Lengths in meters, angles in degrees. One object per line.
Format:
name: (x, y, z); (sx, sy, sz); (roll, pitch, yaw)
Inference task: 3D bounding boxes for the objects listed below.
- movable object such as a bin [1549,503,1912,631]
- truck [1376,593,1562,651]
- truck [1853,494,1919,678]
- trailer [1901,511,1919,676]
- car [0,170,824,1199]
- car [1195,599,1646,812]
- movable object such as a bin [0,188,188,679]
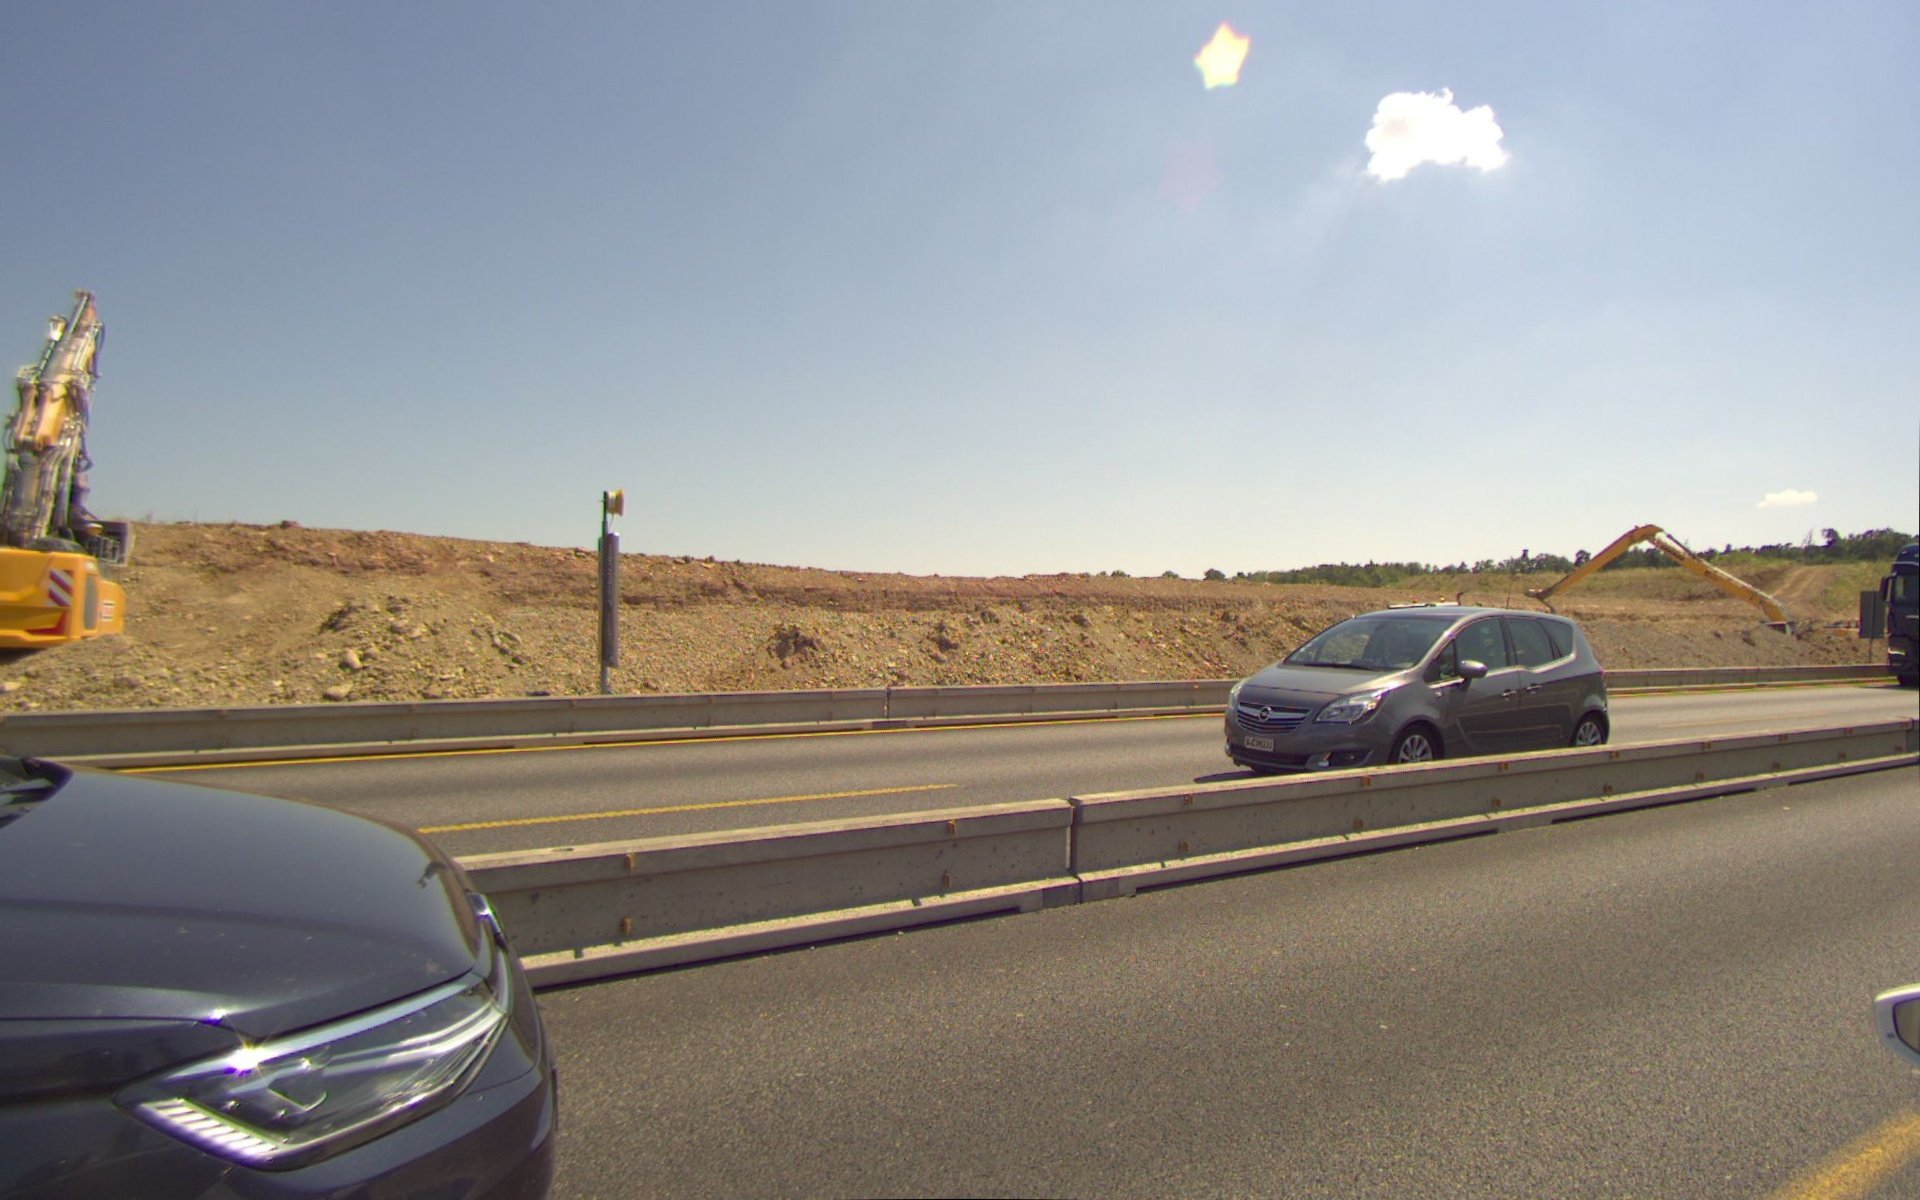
movable object such as a bin: (47.081, -1.852, 63.061); (3.348, 6.862, 18.136); (2, 0, -29)
truck: (20.508, 0.908, 40.242); (8.707, 2.086, 2.548); (2, 0, -32)
truck: (27.286, -0.274, 27.098); (6.171, 4.714, 2.951); (2, 0, -30)
trailer: (33.080, 0.017, 30.572); (12.734, 4.657, 2.971); (2, 0, -31)
car: (-2.674, 0.466, 1.032); (4.726, 1.849, 1.743); (1, 0, -30)
car: (4.366, 0.813, 9.382); (4.176, 1.586, 1.758); (1, 0, -30)
movable object such as a bin: (-16.717, -2.502, 17.495); (4.033, 7.208, 7.325); (2, 0, -30)
